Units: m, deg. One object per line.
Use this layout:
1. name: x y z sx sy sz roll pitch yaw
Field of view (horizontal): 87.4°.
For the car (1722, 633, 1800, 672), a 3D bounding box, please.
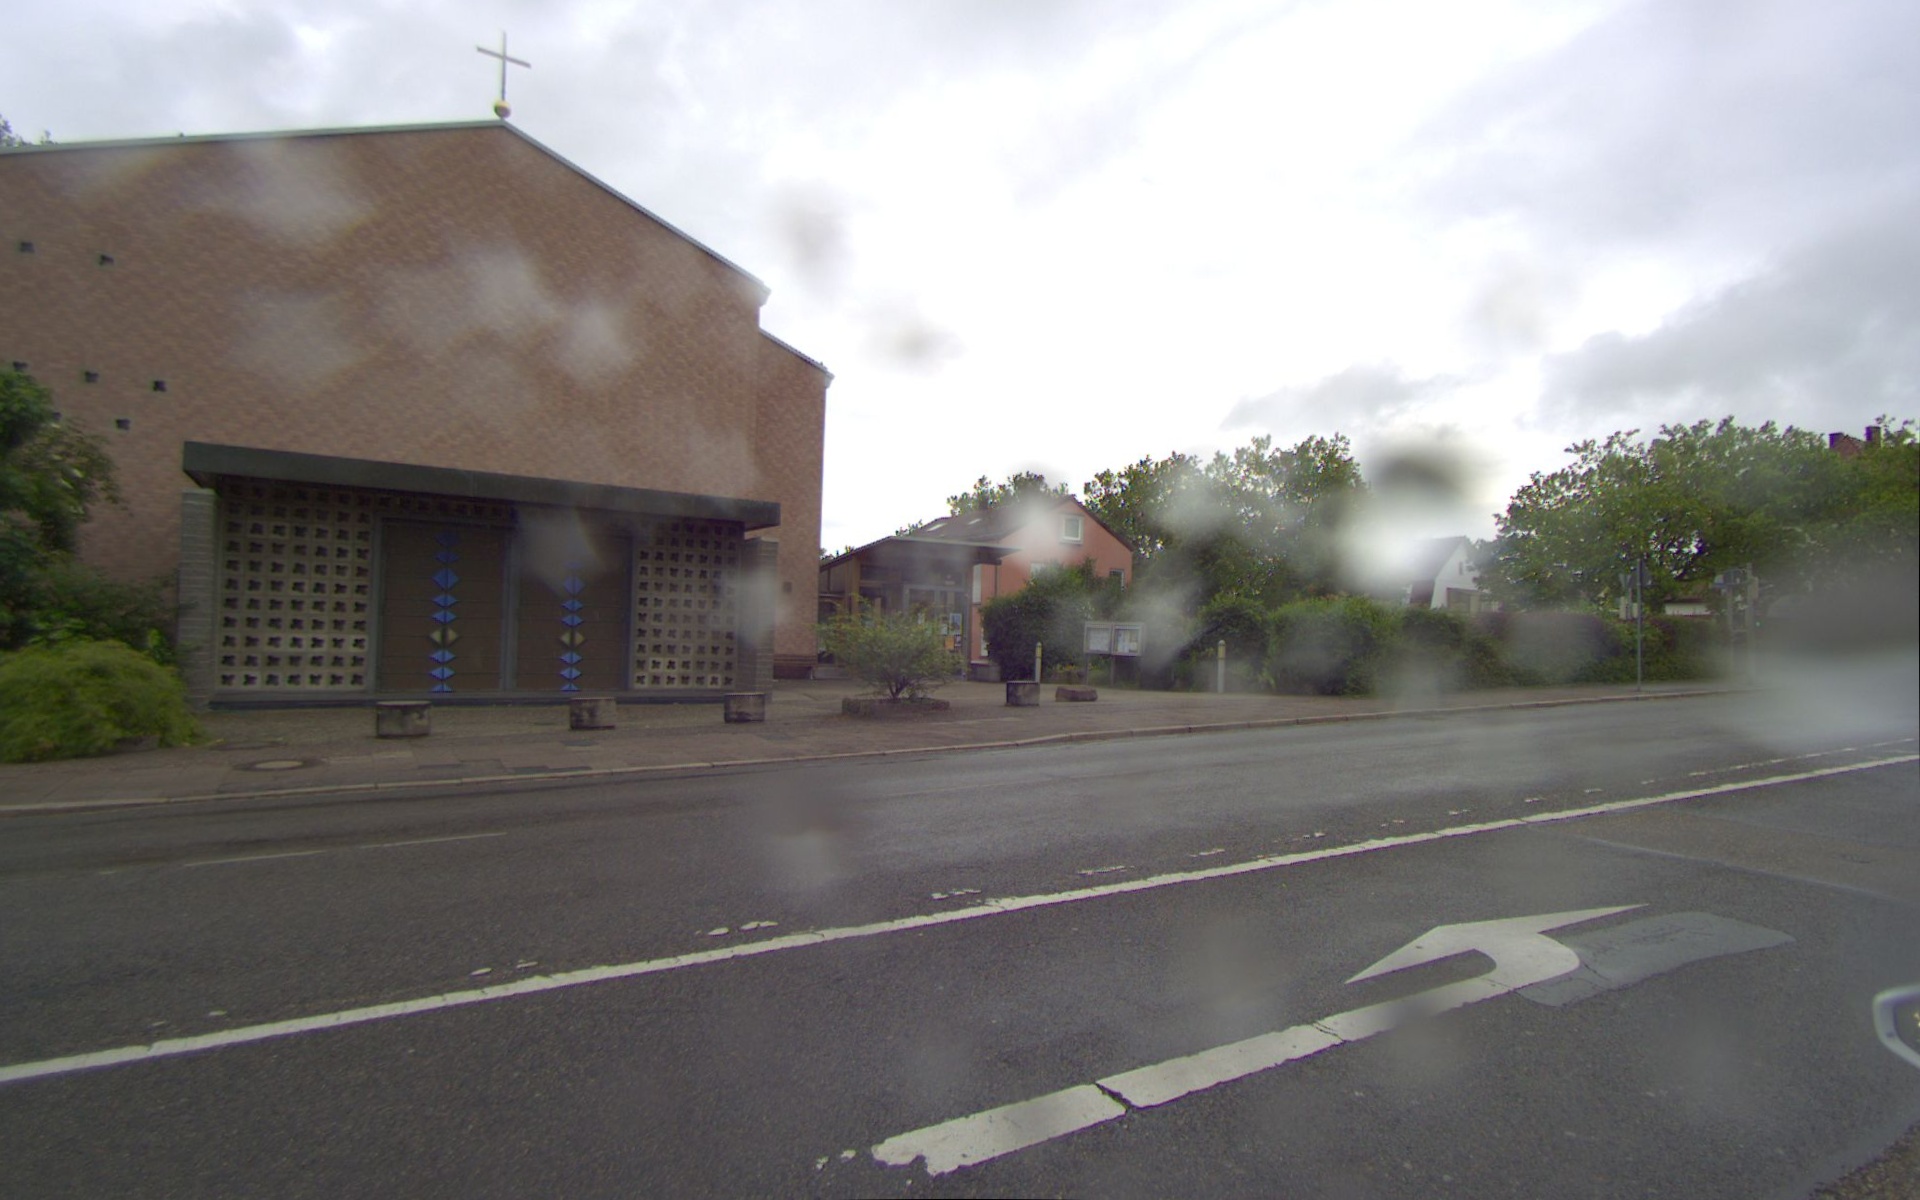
1. car: 39.120 2.536 49.032 3.955 1.573 1.798 -3 2 -32
